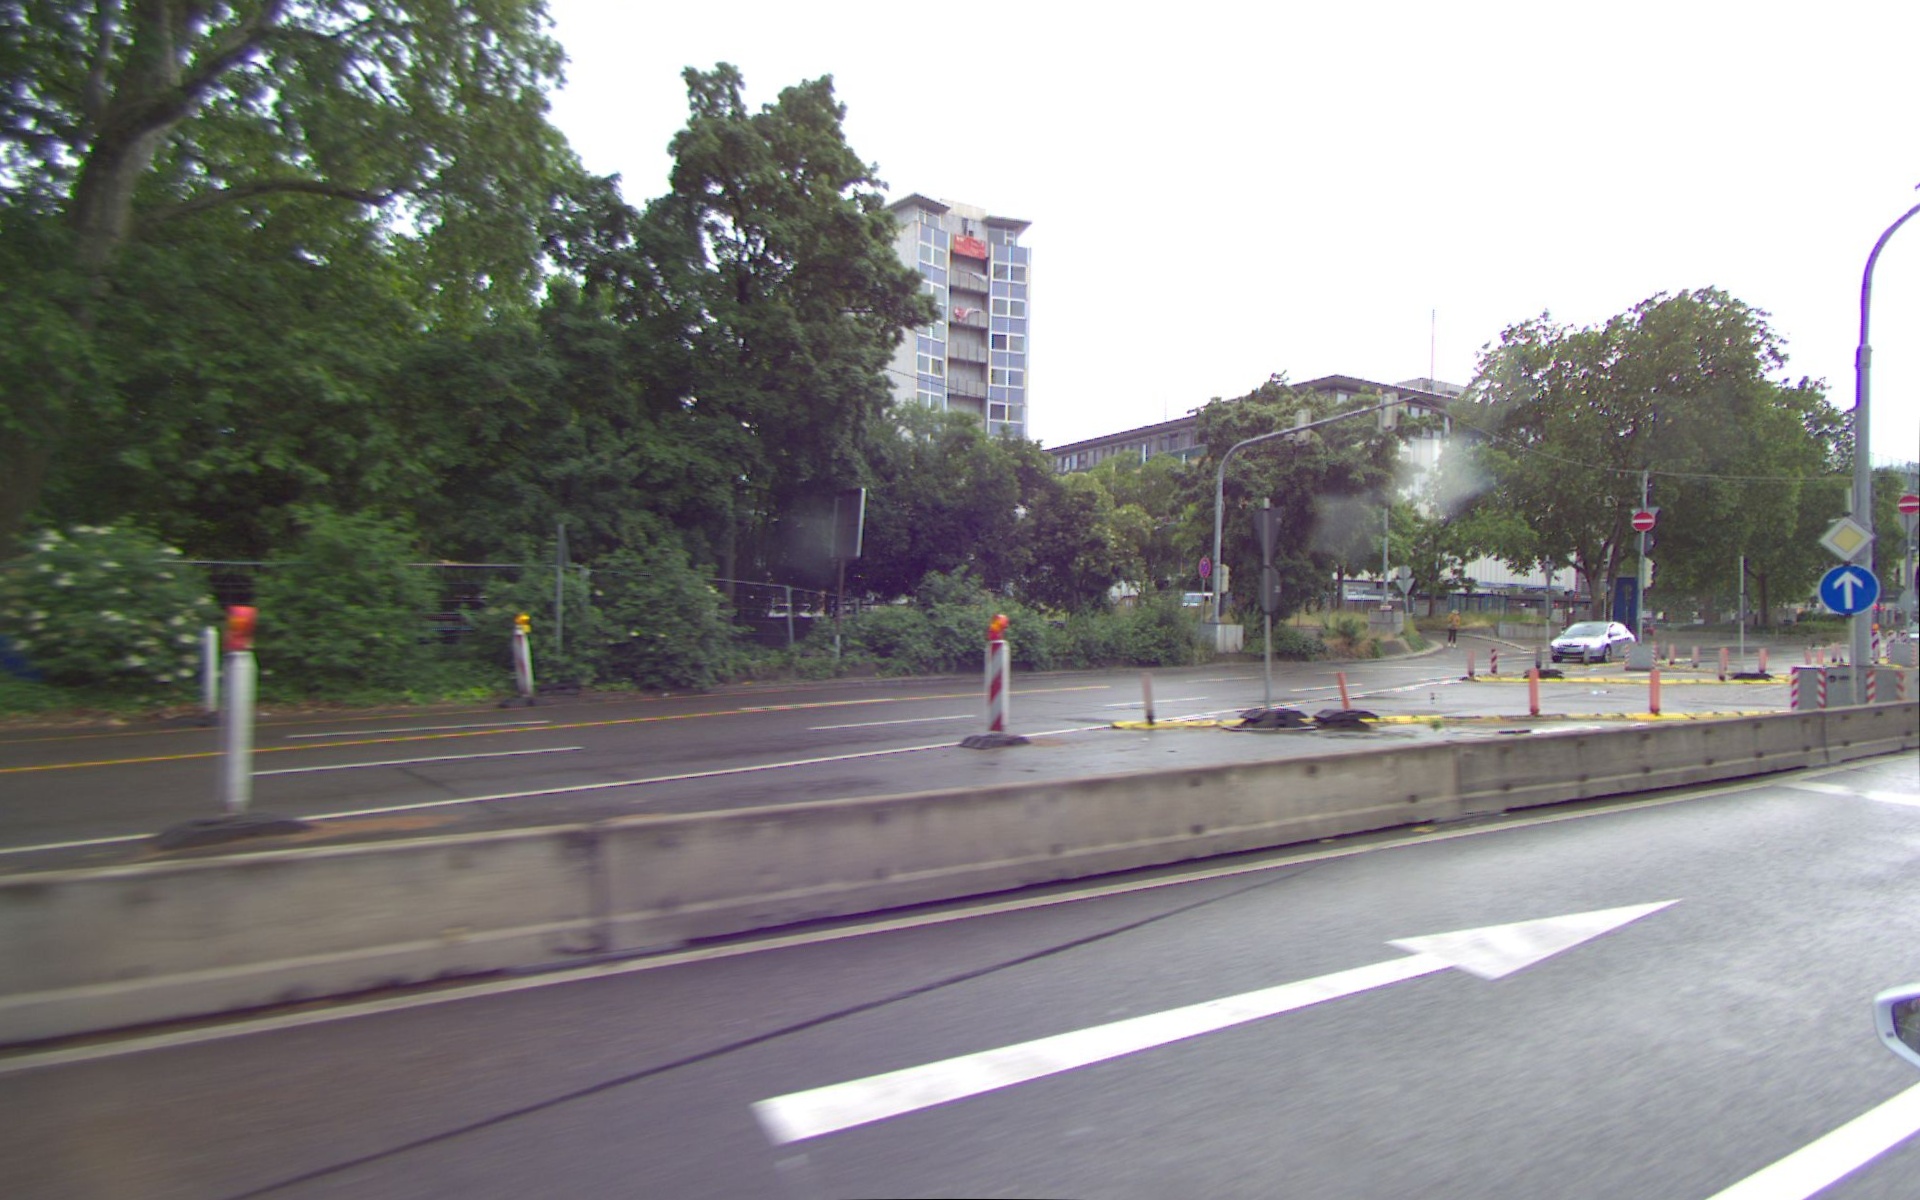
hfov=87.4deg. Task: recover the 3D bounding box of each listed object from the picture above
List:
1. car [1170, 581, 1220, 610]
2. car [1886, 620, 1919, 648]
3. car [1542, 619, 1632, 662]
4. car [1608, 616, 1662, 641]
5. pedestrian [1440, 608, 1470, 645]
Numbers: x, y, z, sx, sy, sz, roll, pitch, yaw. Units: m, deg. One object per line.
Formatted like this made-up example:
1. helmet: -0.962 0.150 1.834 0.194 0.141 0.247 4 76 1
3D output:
1. car: 15.240 -0.285 64.950 1.876 1.547 3.996 0 -4 33
2. car: 60.223 2.167 63.525 4.142 1.547 1.887 5 -4 -39
3. car: 23.020 1.484 36.820 4.147 1.482 1.749 2 -3 -43
4. car: 47.906 2.055 71.374 1.869 1.547 4.009 2 -3 13
5. pedestrian: 22.229 1.201 45.126 1.097 1.577 0.587 3 -3 -19
